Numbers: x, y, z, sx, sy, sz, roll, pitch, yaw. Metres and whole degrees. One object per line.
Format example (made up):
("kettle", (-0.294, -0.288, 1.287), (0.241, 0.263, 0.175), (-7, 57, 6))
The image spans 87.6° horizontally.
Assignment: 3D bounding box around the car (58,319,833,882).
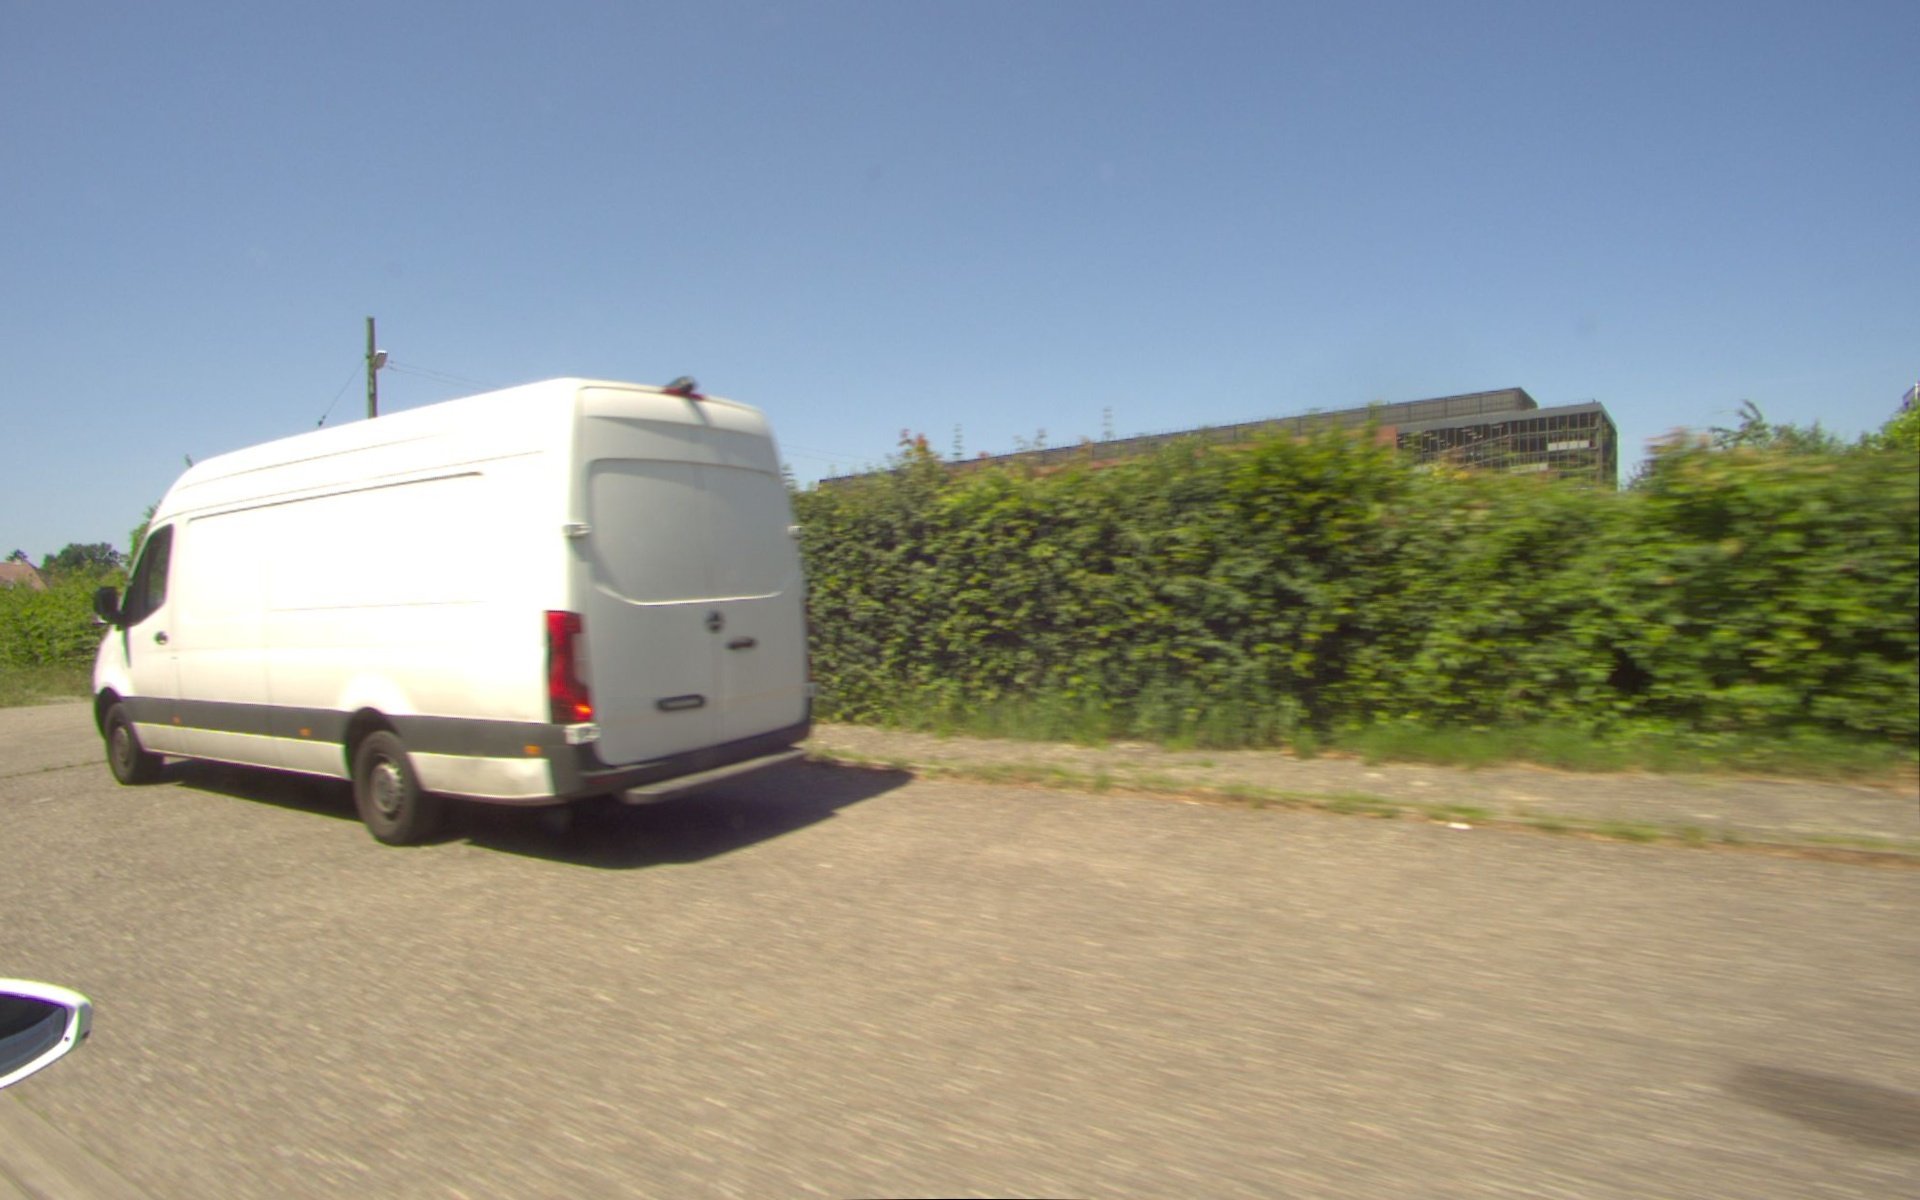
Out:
("car", (-4.357, 0.011, 7.687), (7.066, 2.771, 1.948), (-1, 3, 33))
